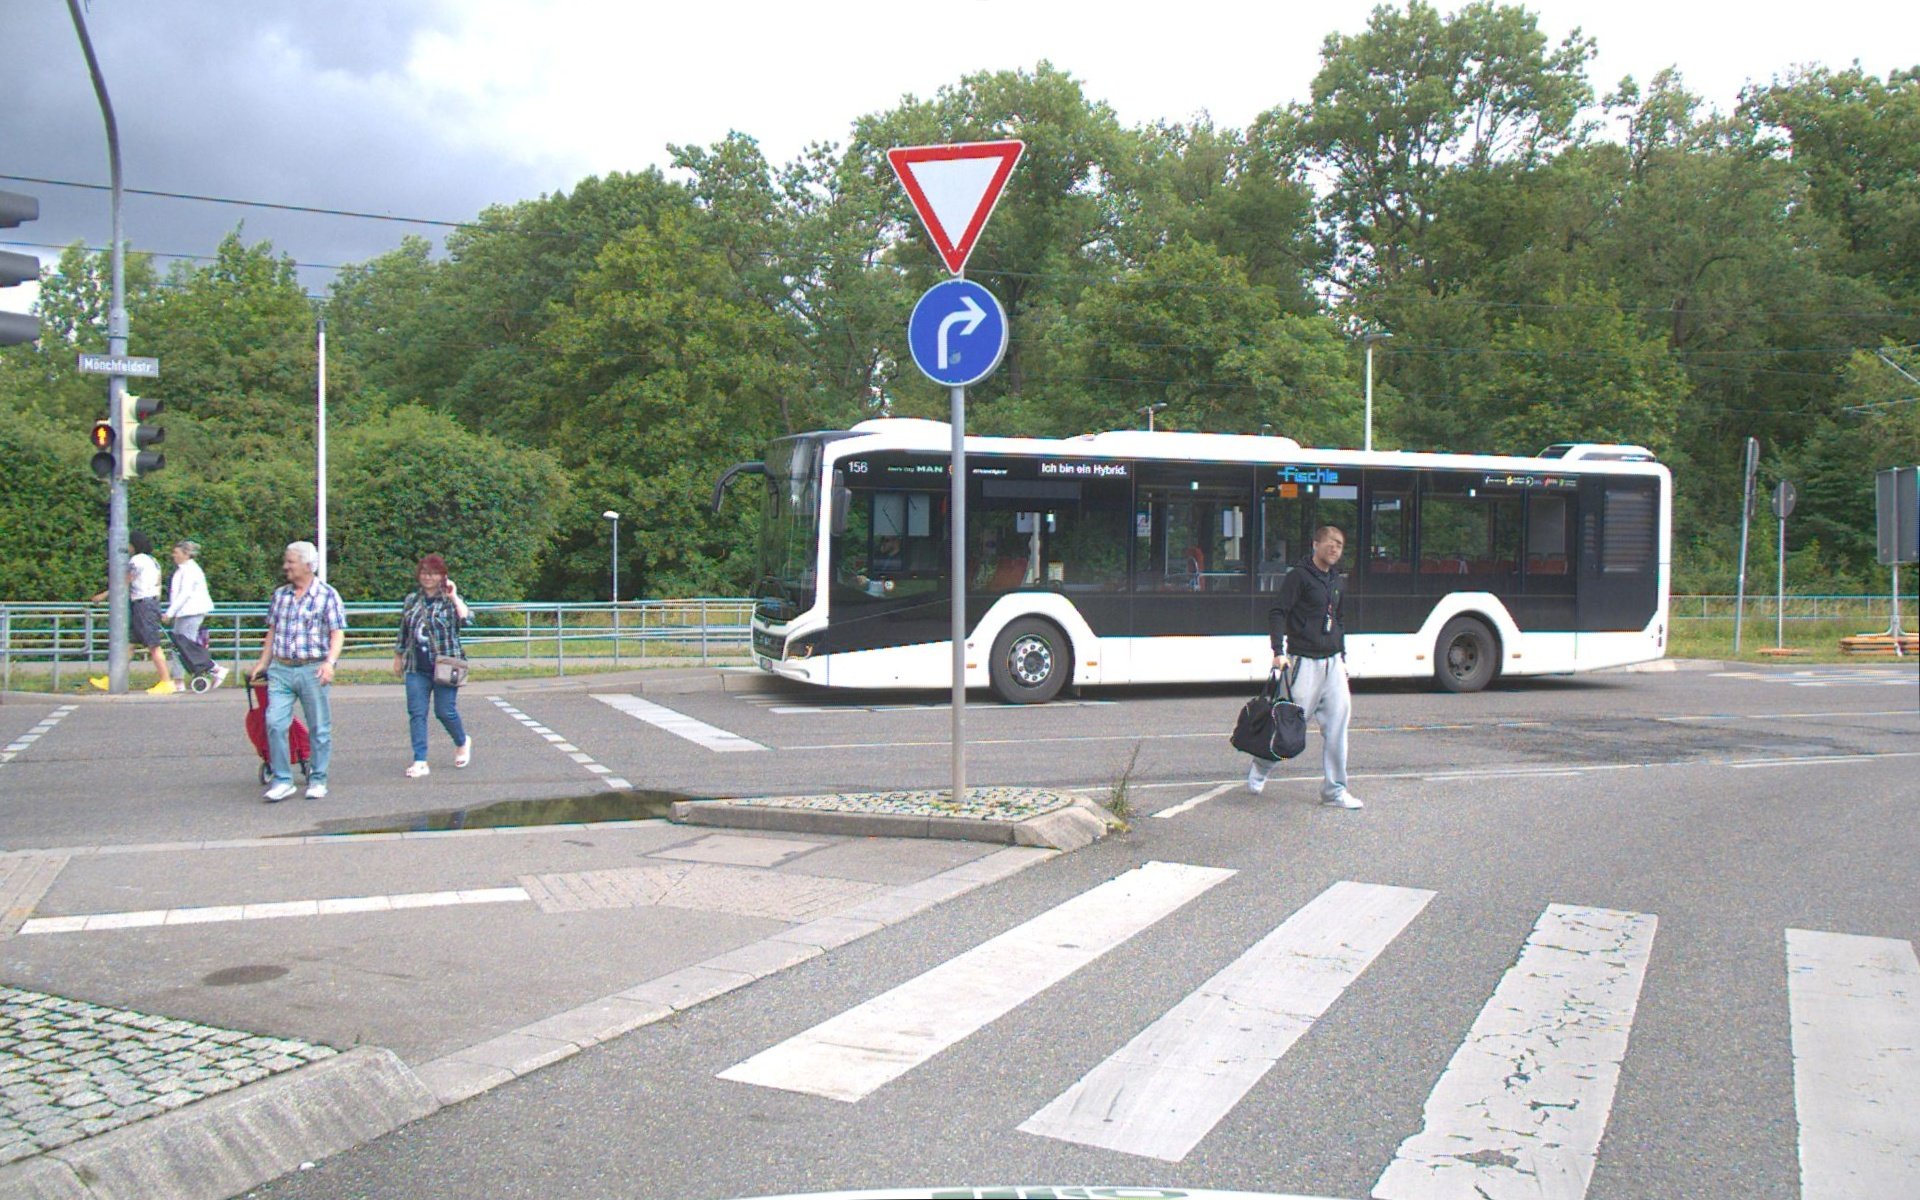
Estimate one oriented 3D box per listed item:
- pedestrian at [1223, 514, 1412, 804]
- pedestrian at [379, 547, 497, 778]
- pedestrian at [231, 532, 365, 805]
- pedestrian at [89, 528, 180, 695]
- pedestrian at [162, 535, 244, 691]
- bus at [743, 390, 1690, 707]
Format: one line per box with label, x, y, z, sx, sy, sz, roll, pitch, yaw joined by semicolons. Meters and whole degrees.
pedestrian;2.280;0.359;10.682;0.935;1.777;1.061;1;0;-3
pedestrian;-3.721;0.433;11.847;0.717;1.594;0.690;0;0;-12
pedestrian;-4.188;0.411;10.507;0.709;1.662;0.696;-1;0;-17
pedestrian;-9.024;0.119;18.109;0.708;1.778;0.953;0;0;-16
pedestrian;-8.850;0.142;19.362;0.708;1.778;0.953;0;0;-16
bus;3.470;-0.556;20.498;11.988;3.259;2.658;0;0;-22
